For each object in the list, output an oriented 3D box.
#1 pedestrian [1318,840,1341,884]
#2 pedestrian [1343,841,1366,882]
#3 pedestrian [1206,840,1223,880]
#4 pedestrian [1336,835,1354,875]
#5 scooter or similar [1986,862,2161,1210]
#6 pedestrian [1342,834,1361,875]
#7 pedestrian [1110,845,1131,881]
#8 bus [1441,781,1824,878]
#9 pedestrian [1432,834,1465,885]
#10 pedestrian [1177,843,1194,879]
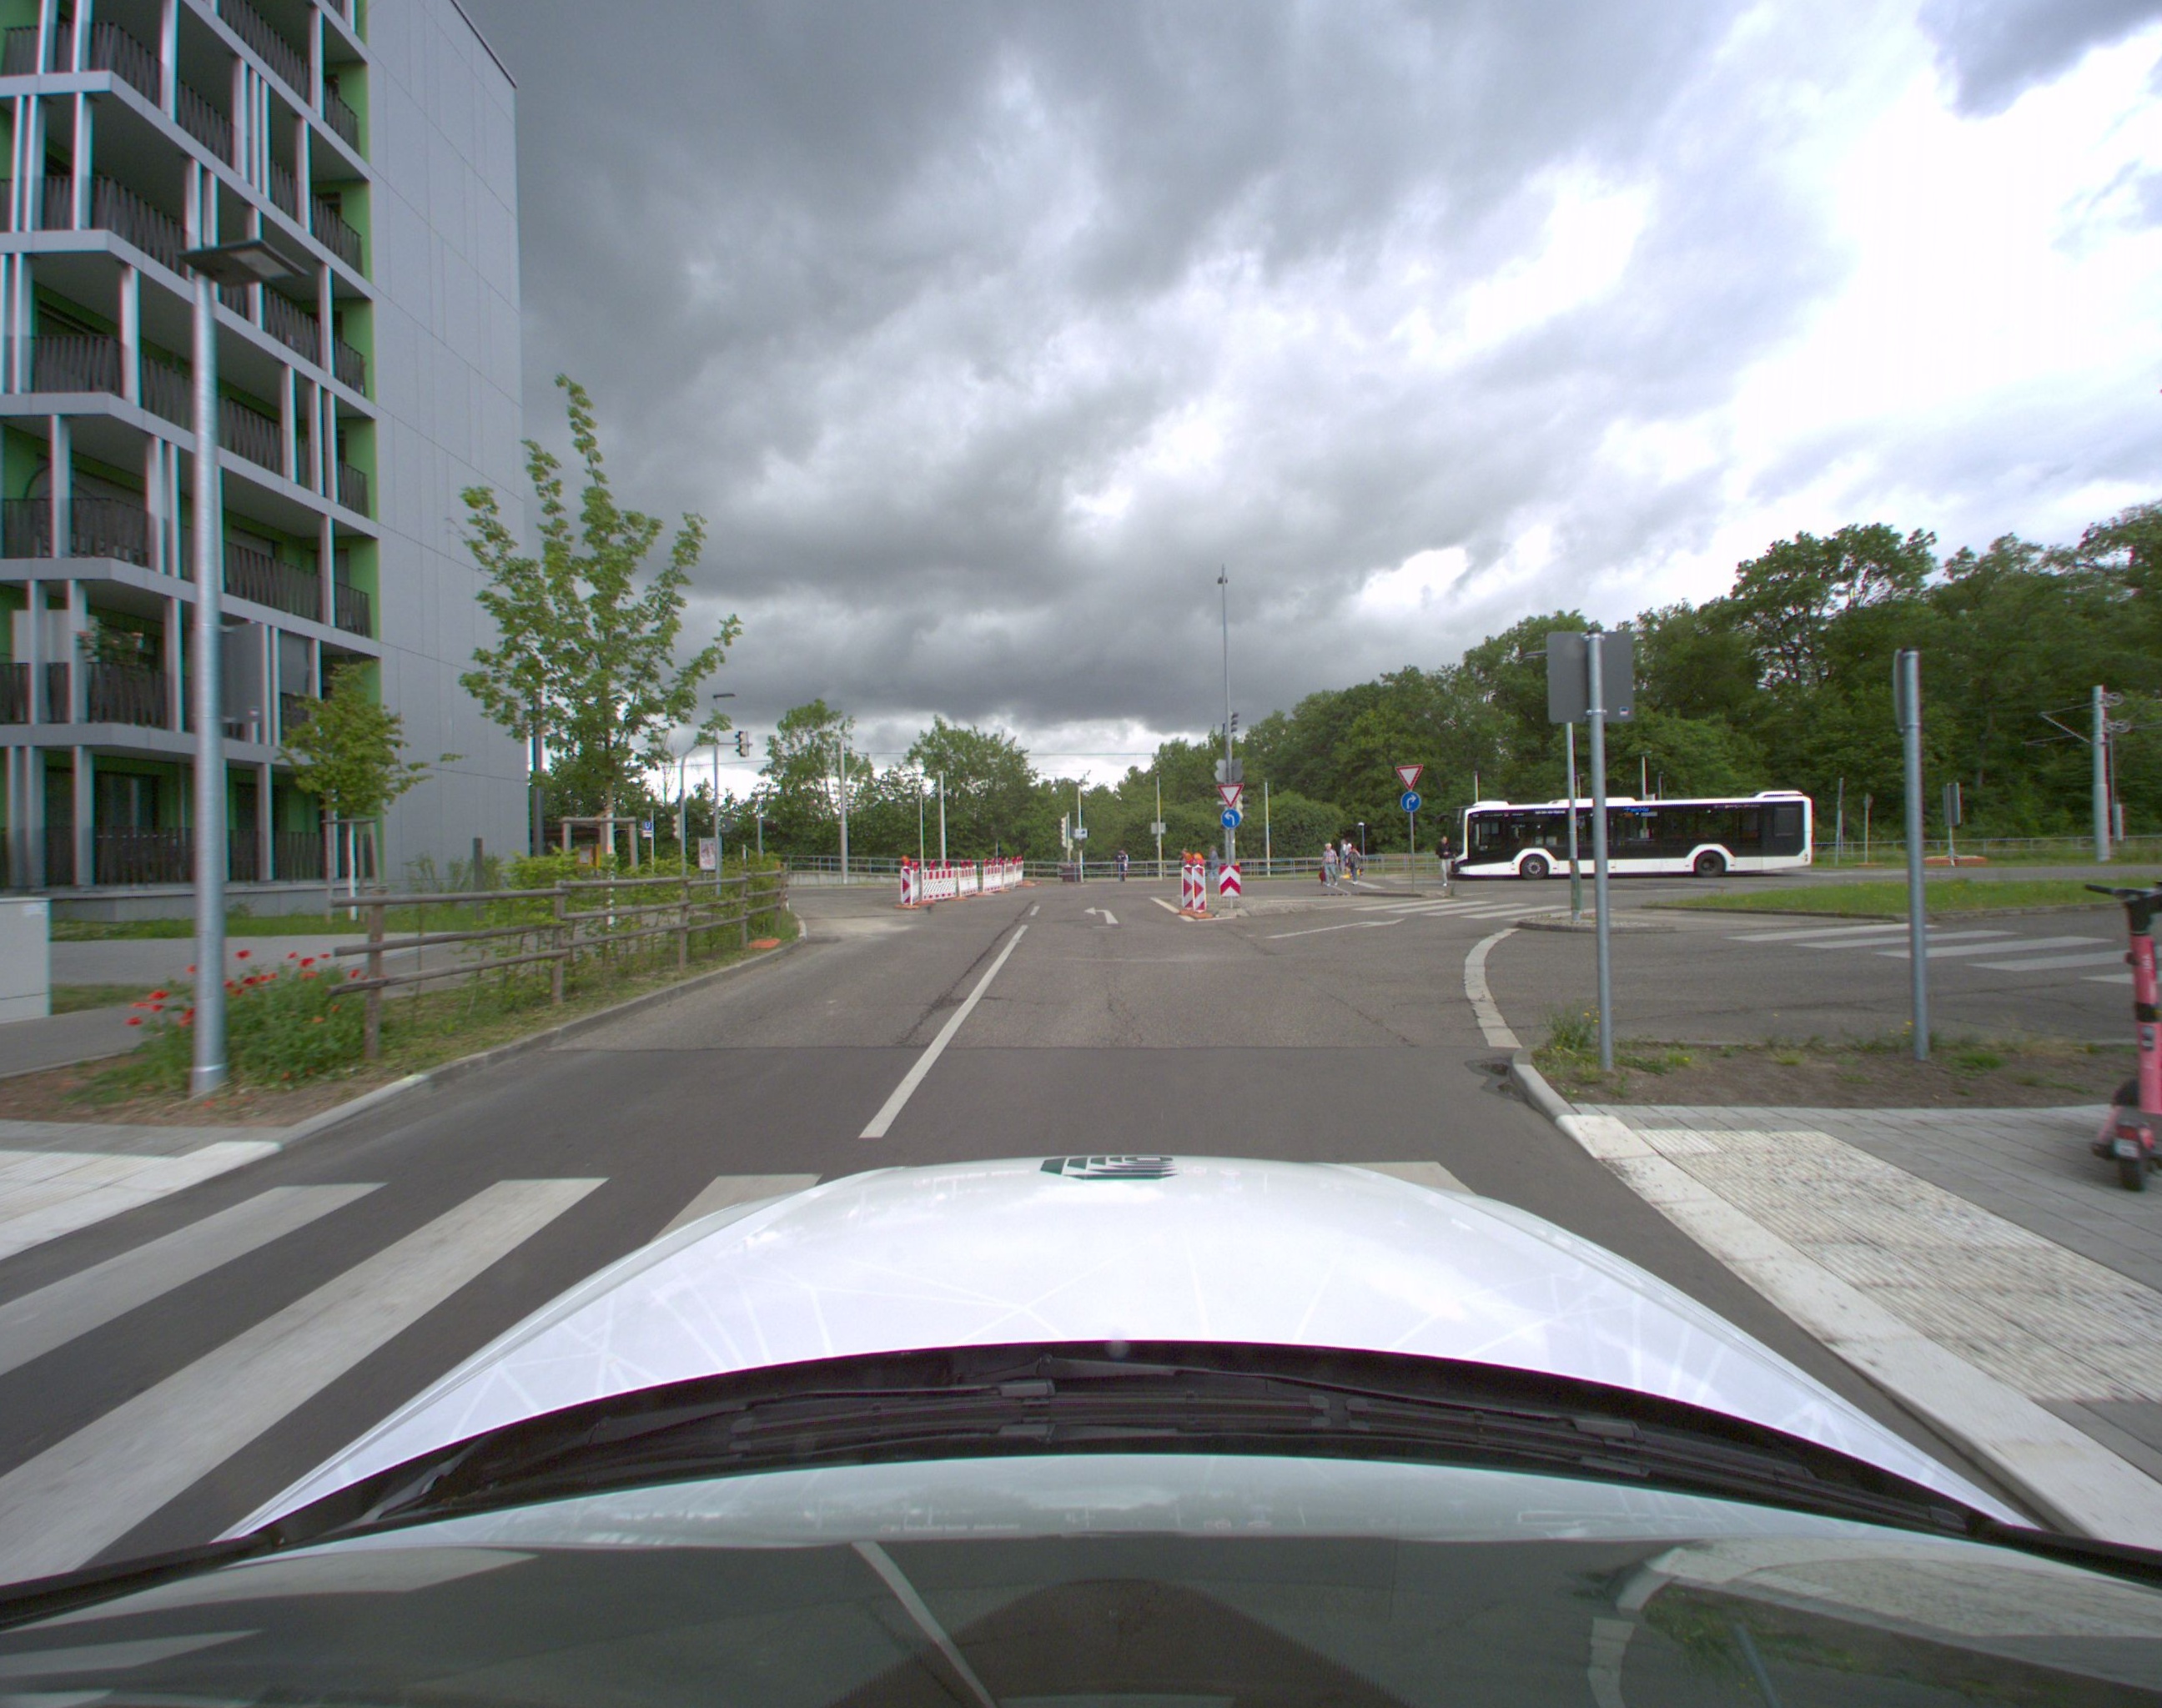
[{"bbox_3d":[9.373,0.289,30.694,0.690,1.633,0.727,-1,0,29],"label":"pedestrian"},{"bbox_3d":[10.479,0.291,31.210,0.683,1.567,0.737,-1,0,29],"label":"pedestrian"},{"bbox_3d":[6.018,0.272,36.738,0.716,1.747,0.960,-1,0,10],"label":"pedestrian"},{"bbox_3d":[11.839,0.051,36.564,0.715,1.747,0.961,-1,0,16],"label":"pedestrian"},{"bbox_3d":[4.710,0.707,3.708,1.531,1.313,0.566,-1,0,-34],"label":"scooter or similar"},{"bbox_3d":[11.785,0.021,35.489,0.715,1.747,0.961,-1,0,16],"label":"pedestrian"},{"bbox_3d":[1.922,0.439,39.985,0.952,1.747,0.722,-1,0,-2],"label":"pedestrian"},{"bbox_3d":[20.619,-0.850,31.285,12.083,3.203,2.683,-2,0,10],"label":"bus"},{"bbox_3d":[13.024,0.198,28.879,0.945,1.747,1.068,-1,0,29],"label":"pedestrian"},{"bbox_3d":[4.818,0.330,37.651,0.716,1.621,0.807,-1,0,10],"label":"pedestrian"}]
